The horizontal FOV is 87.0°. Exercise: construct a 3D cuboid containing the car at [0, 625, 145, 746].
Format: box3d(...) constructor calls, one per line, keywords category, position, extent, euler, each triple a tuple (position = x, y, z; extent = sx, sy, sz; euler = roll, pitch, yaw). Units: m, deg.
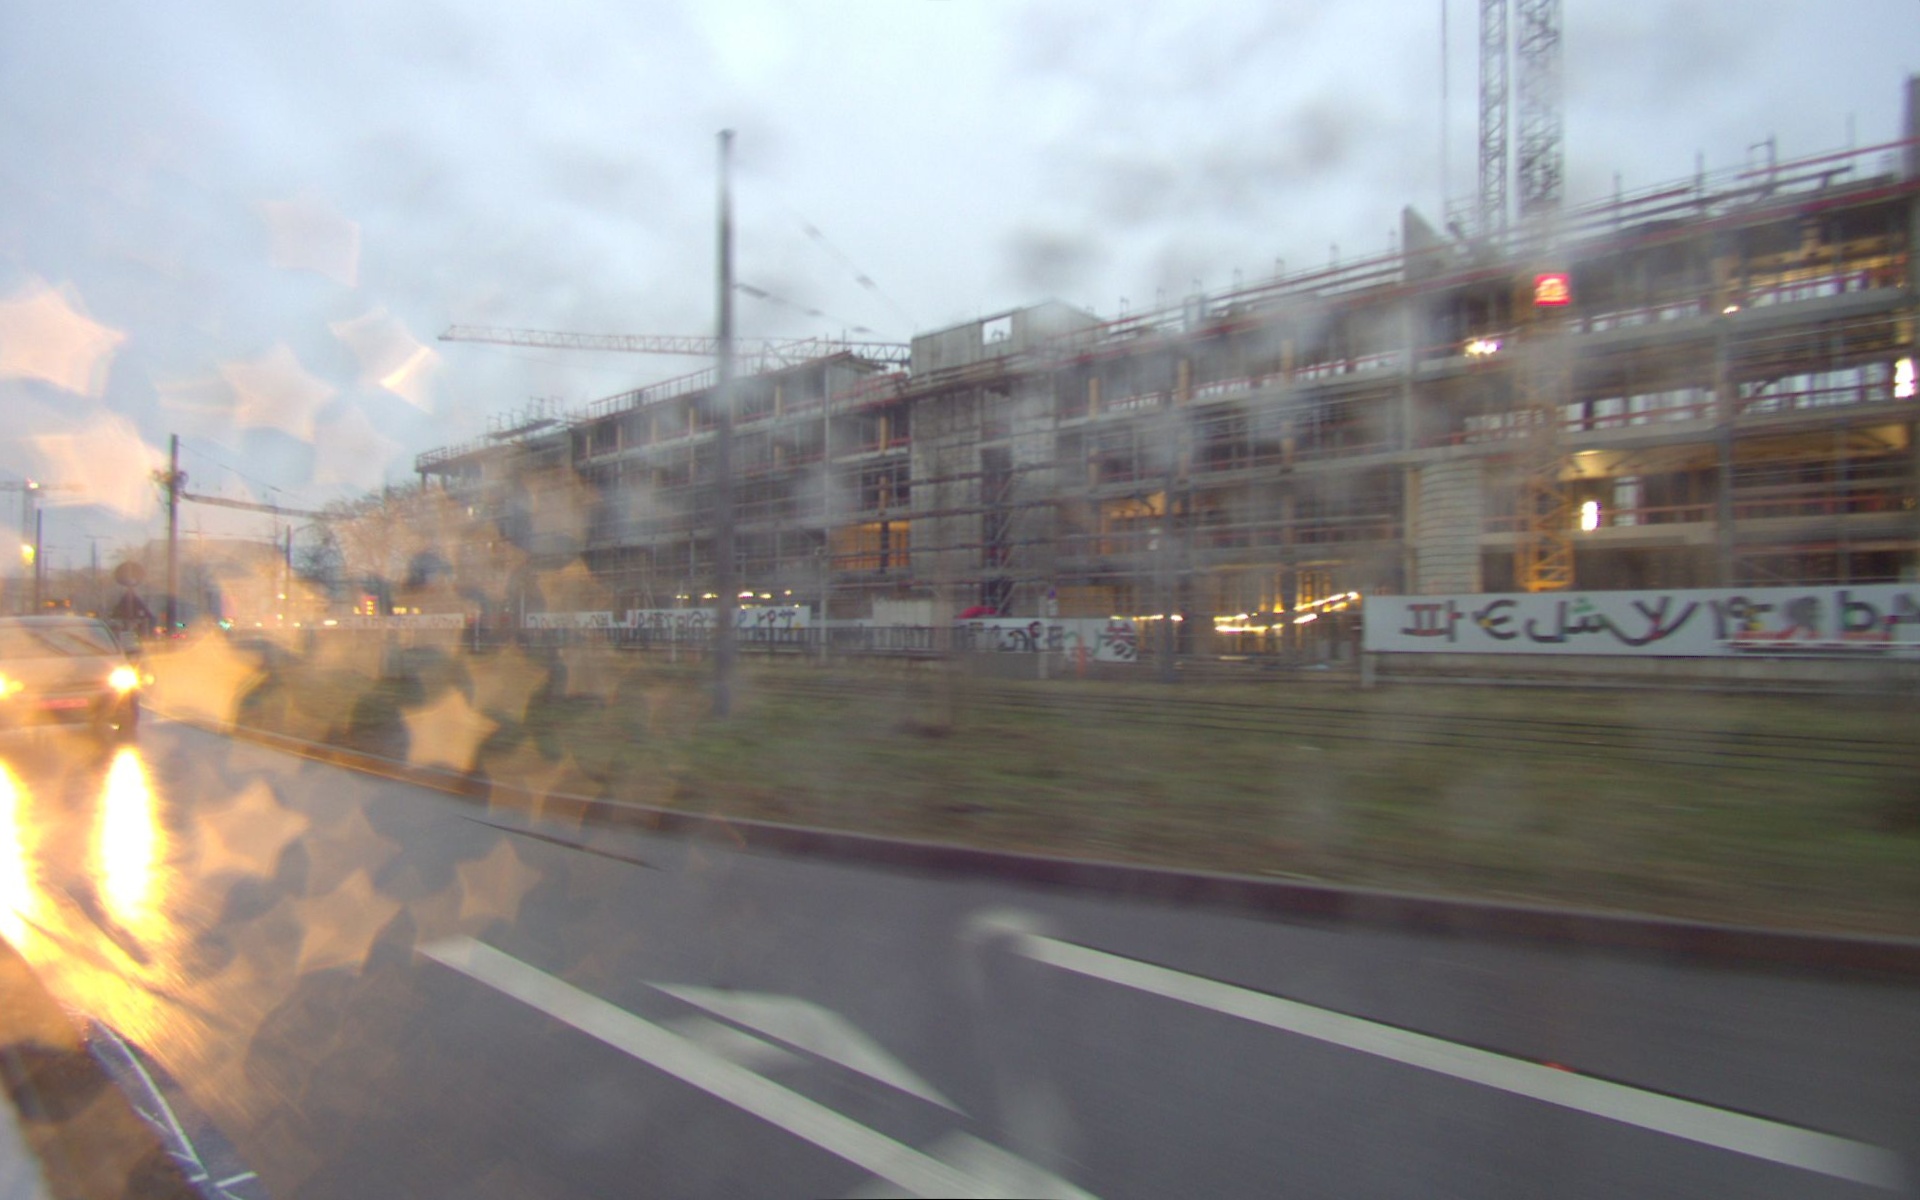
box3d(category="car", position=(-13.018, 1.128, 14.295), extent=(4.004, 1.464, 1.785), euler=(-2, -1, 43))
